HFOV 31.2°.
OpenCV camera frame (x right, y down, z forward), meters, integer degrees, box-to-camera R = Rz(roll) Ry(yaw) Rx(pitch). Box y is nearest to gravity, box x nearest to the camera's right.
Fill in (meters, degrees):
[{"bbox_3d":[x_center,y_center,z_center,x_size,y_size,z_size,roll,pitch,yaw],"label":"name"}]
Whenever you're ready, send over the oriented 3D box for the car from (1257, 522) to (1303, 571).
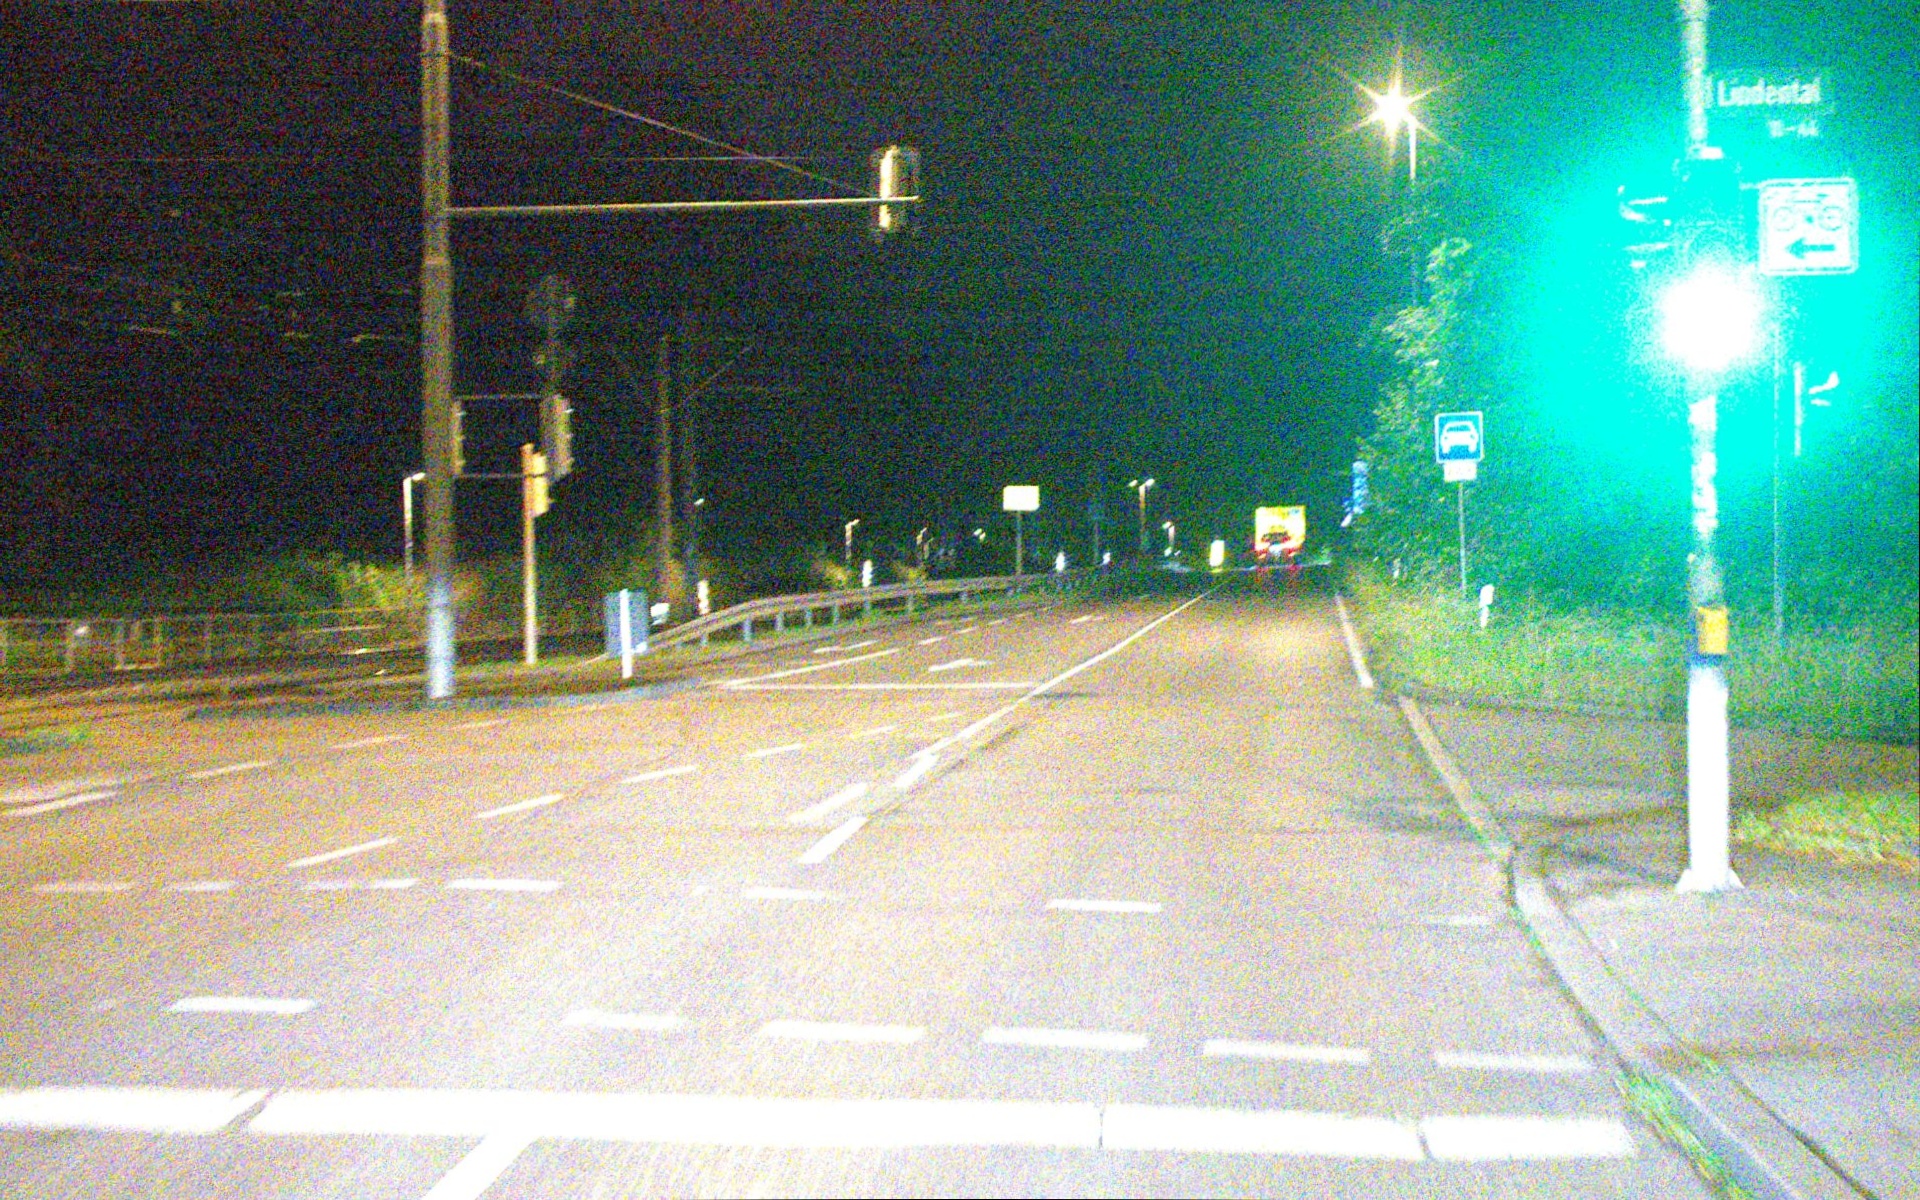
[{"bbox_3d":[14.191,-2.381,152.652,1.994,2.007,3.999,0,-1,5],"label":"car"}]
